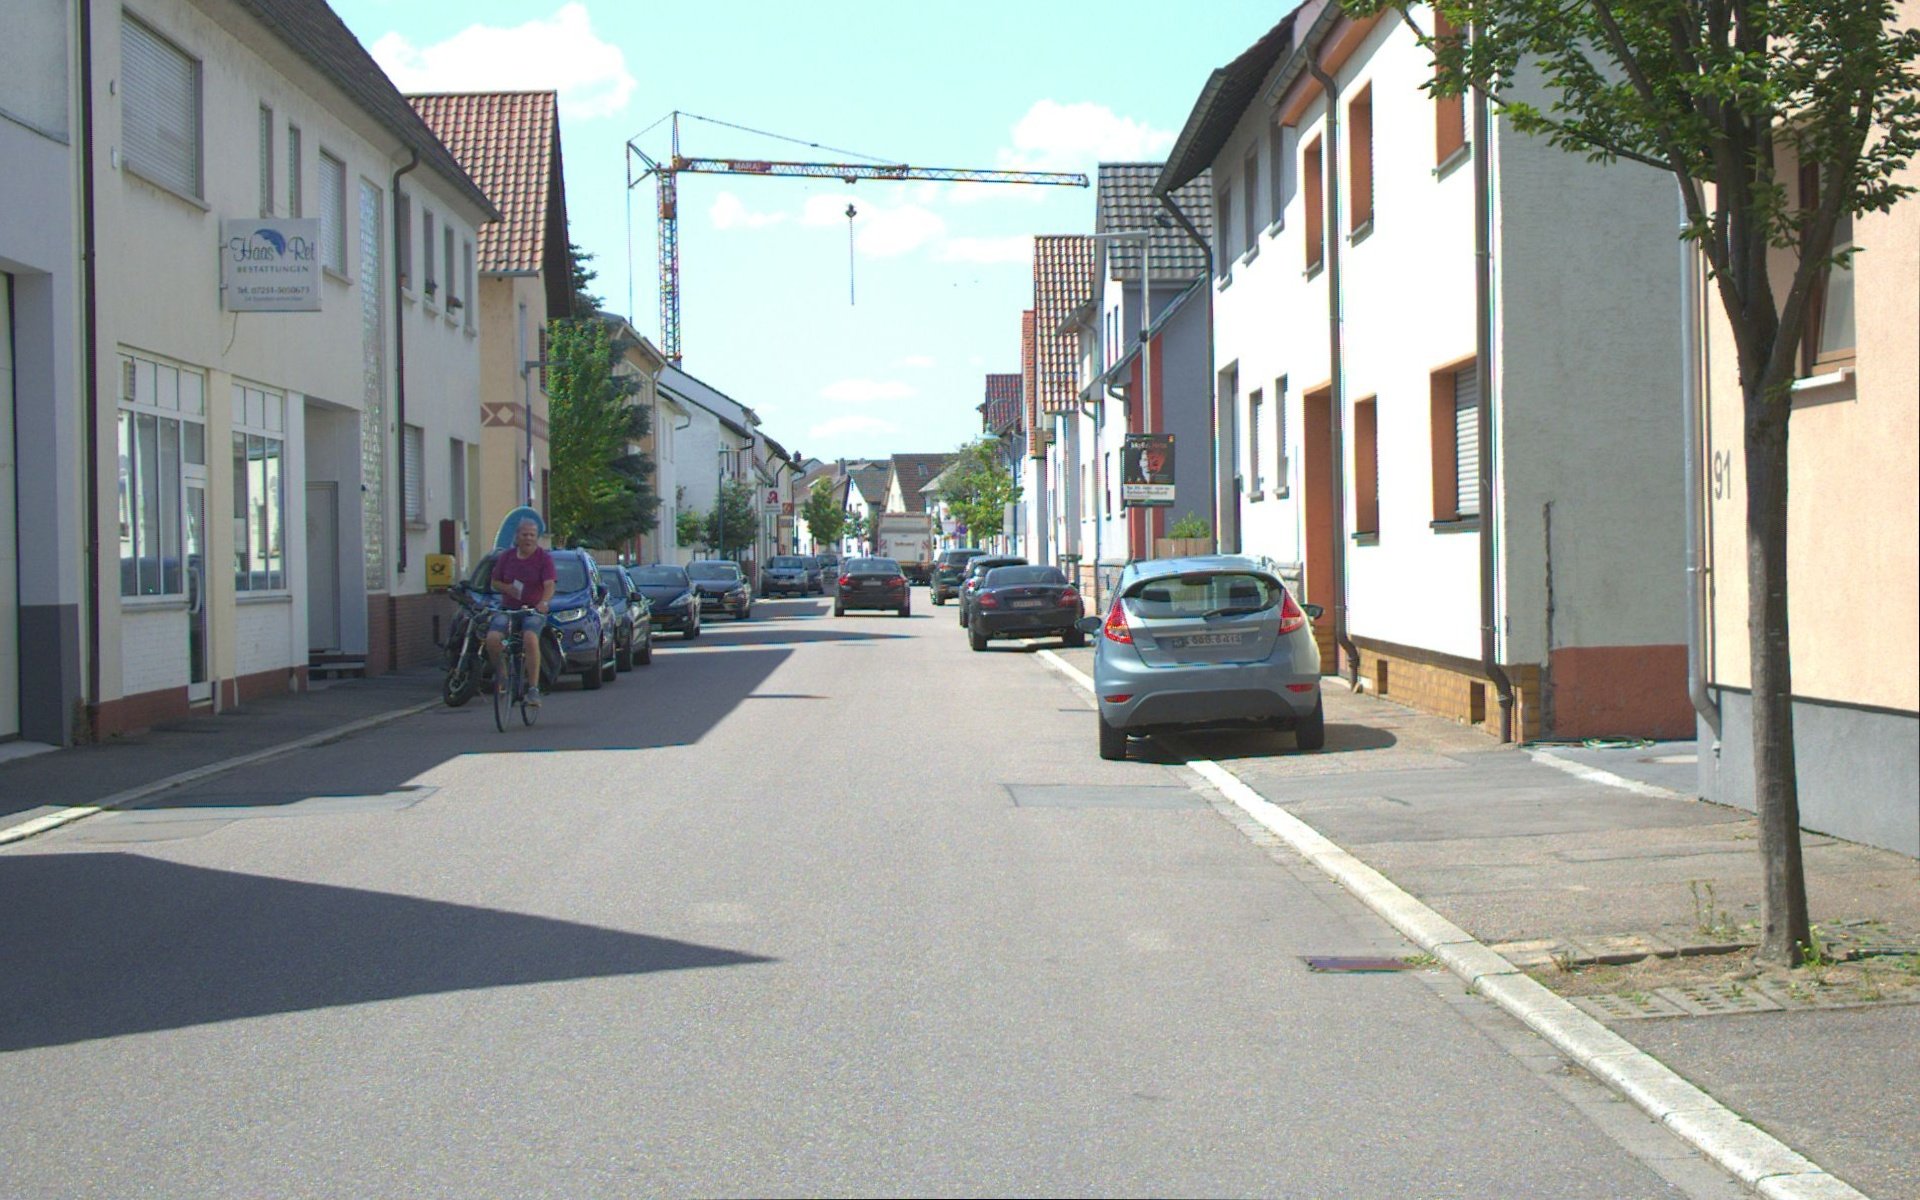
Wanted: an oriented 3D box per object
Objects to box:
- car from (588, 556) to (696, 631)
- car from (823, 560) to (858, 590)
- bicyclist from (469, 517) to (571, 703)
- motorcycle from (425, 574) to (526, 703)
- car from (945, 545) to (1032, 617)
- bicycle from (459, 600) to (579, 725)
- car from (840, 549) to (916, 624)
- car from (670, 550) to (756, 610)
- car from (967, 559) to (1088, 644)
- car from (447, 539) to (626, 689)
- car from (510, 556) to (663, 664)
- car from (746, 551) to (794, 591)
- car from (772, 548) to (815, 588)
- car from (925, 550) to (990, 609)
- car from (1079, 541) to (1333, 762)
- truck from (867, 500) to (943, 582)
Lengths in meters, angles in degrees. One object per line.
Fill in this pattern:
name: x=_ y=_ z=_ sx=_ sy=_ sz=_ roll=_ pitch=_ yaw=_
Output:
car: x=-6.025 y=-0.138 z=65.490 sx=1.761 sy=1.369 sz=4.067 roll=0 pitch=1 yaw=-1
car: x=-6.345 y=-1.337 z=182.130 sx=1.723 sy=1.550 sz=4.172 roll=0 pitch=1 yaw=0
bicyclist: x=-3.914 y=0.083 z=30.646 sx=0.747 sy=1.631 sz=0.956 roll=0 pitch=1 yaw=2
motorcycle: x=-5.135 y=0.391 z=36.547 sx=0.808 sy=1.308 sz=2.106 roll=-1 pitch=1 yaw=-1
car: x=0.567 y=-0.415 z=71.681 sx=1.688 sy=1.417 sz=3.657 roll=-1 pitch=1 yaw=-1
bicycle: x=-3.918 y=0.543 z=30.651 sx=0.743 sy=1.044 sz=1.940 roll=0 pitch=1 yaw=2
car: x=-2.046 y=-0.336 z=84.774 sx=1.782 sy=1.747 sz=4.000 roll=-2 pitch=1 yaw=-2
car: x=-6.194 y=-0.516 z=86.565 sx=1.768 sy=1.455 sz=4.436 roll=-1 pitch=1 yaw=1
car: x=1.045 y=-0.005 z=54.994 sx=1.815 sy=1.271 sz=4.147 roll=-1 pitch=1 yaw=0
car: x=-5.027 y=0.126 z=41.224 sx=1.717 sy=1.634 sz=4.149 roll=-3 pitch=1 yaw=-2
car: x=-5.155 y=0.107 z=47.861 sx=1.697 sy=1.407 sz=4.390 roll=-1 pitch=1 yaw=-1
car: x=-7.506 y=-1.163 z=136.003 sx=1.758 sy=1.519 sz=4.289 roll=-1 pitch=1 yaw=-2
car: x=-6.892 y=-1.344 z=142.758 sx=1.653 sy=1.603 sz=4.061 roll=-1 pitch=1 yaw=-2
car: x=-0.090 y=-0.639 z=103.922 sx=1.728 sy=1.711 sz=4.276 roll=-1 pitch=1 yaw=-3
car: x=1.861 y=0.339 z=26.557 sx=1.722 sy=1.476 sz=3.749 roll=-4 pitch=1 yaw=3
truck: x=-2.878 y=-2.934 z=174.117 sx=3.378 sy=3.852 sz=13.927 roll=-2 pitch=1 yaw=-2
